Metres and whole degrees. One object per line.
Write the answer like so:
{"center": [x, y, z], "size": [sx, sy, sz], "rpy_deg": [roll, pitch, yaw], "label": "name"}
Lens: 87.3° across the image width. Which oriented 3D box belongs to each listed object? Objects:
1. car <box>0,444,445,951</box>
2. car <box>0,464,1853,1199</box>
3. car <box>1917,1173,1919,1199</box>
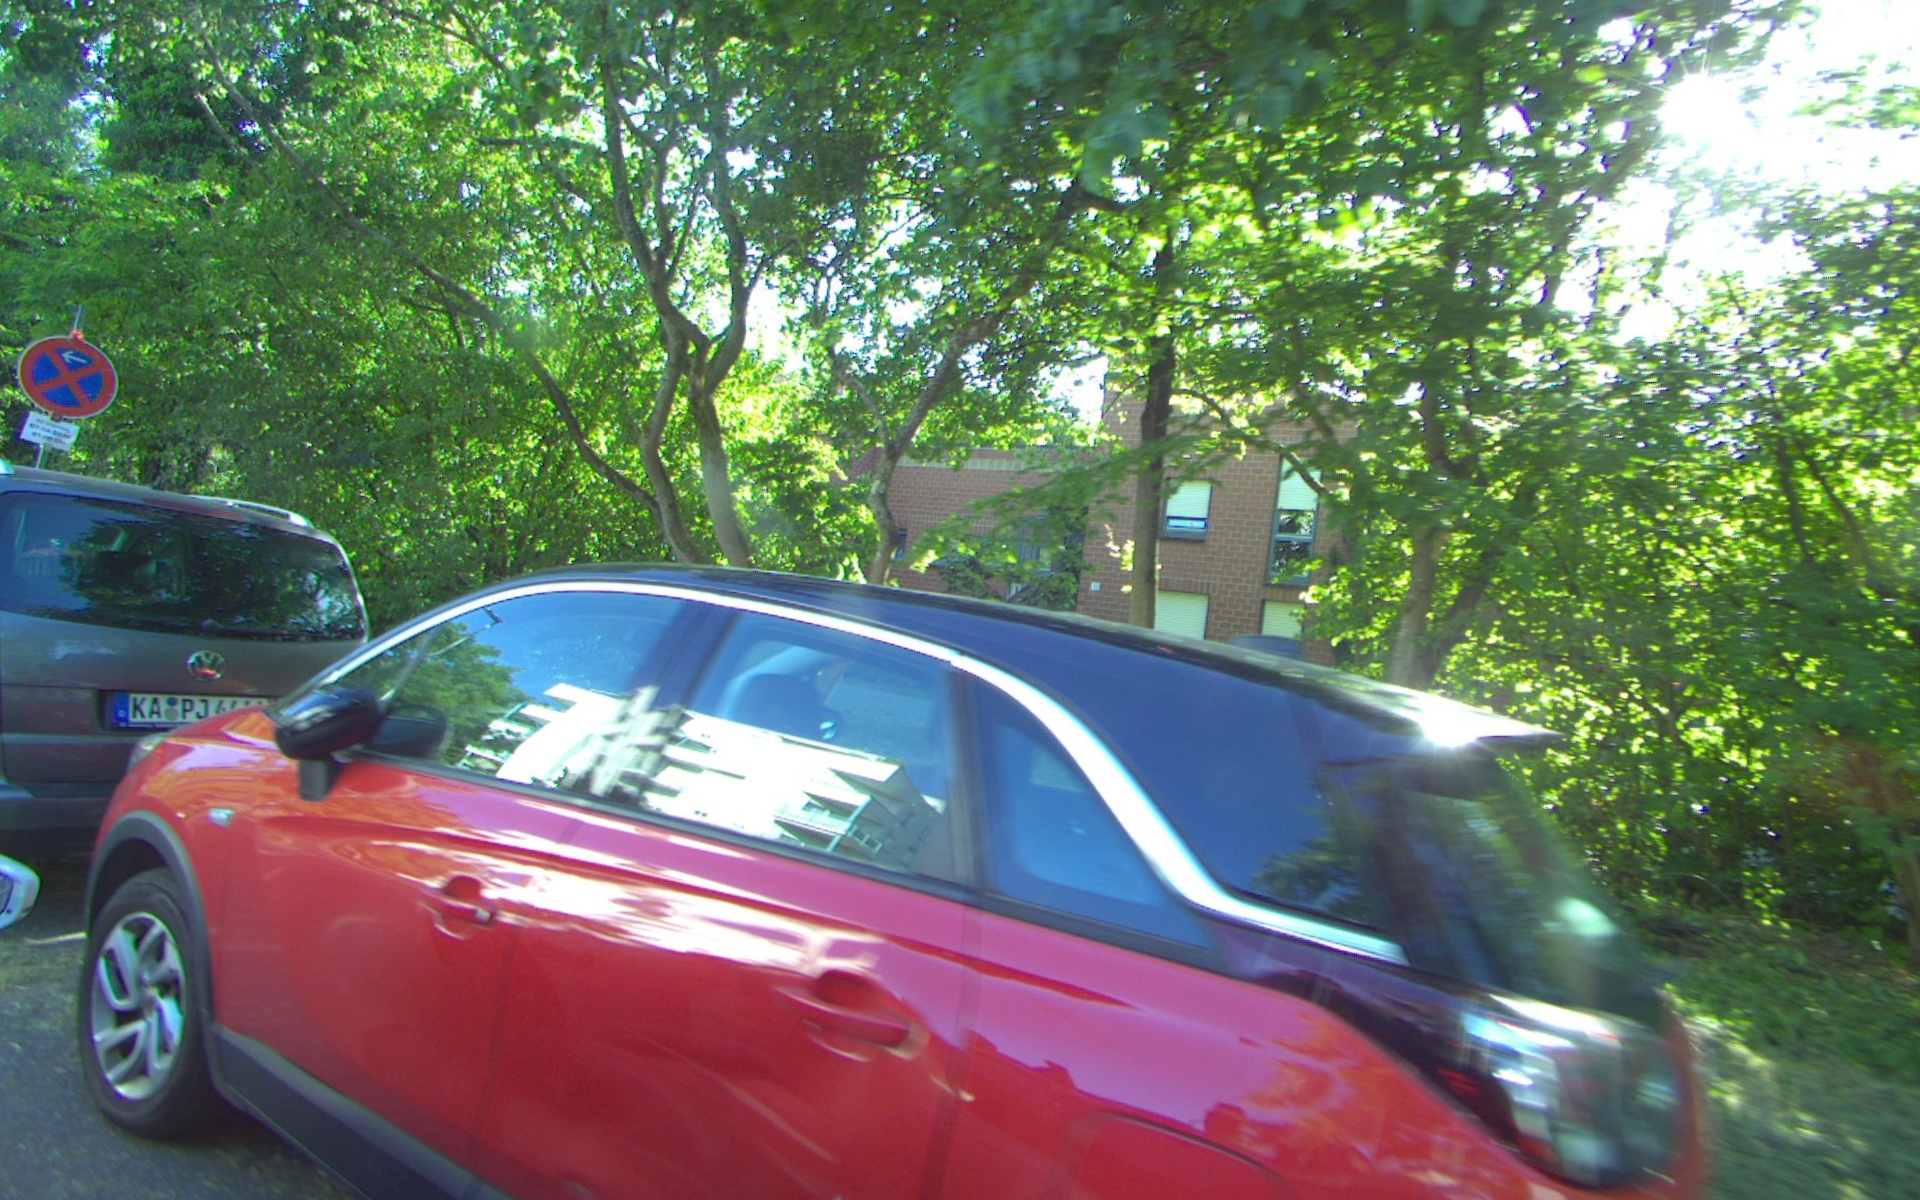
{"center": [-4.561, 0.178, 4.757], "size": [4.067, 1.640, 1.683], "rpy_deg": [7, -2, 30], "label": "car"}
{"center": [-0.628, 0.696, 2.596], "size": [3.999, 1.591, 1.683], "rpy_deg": [7, -2, 32], "label": "car"}
{"center": [3.426, 1.257, 0.394], "size": [4.077, 1.526, 1.717], "rpy_deg": [7, -2, 28], "label": "car"}
